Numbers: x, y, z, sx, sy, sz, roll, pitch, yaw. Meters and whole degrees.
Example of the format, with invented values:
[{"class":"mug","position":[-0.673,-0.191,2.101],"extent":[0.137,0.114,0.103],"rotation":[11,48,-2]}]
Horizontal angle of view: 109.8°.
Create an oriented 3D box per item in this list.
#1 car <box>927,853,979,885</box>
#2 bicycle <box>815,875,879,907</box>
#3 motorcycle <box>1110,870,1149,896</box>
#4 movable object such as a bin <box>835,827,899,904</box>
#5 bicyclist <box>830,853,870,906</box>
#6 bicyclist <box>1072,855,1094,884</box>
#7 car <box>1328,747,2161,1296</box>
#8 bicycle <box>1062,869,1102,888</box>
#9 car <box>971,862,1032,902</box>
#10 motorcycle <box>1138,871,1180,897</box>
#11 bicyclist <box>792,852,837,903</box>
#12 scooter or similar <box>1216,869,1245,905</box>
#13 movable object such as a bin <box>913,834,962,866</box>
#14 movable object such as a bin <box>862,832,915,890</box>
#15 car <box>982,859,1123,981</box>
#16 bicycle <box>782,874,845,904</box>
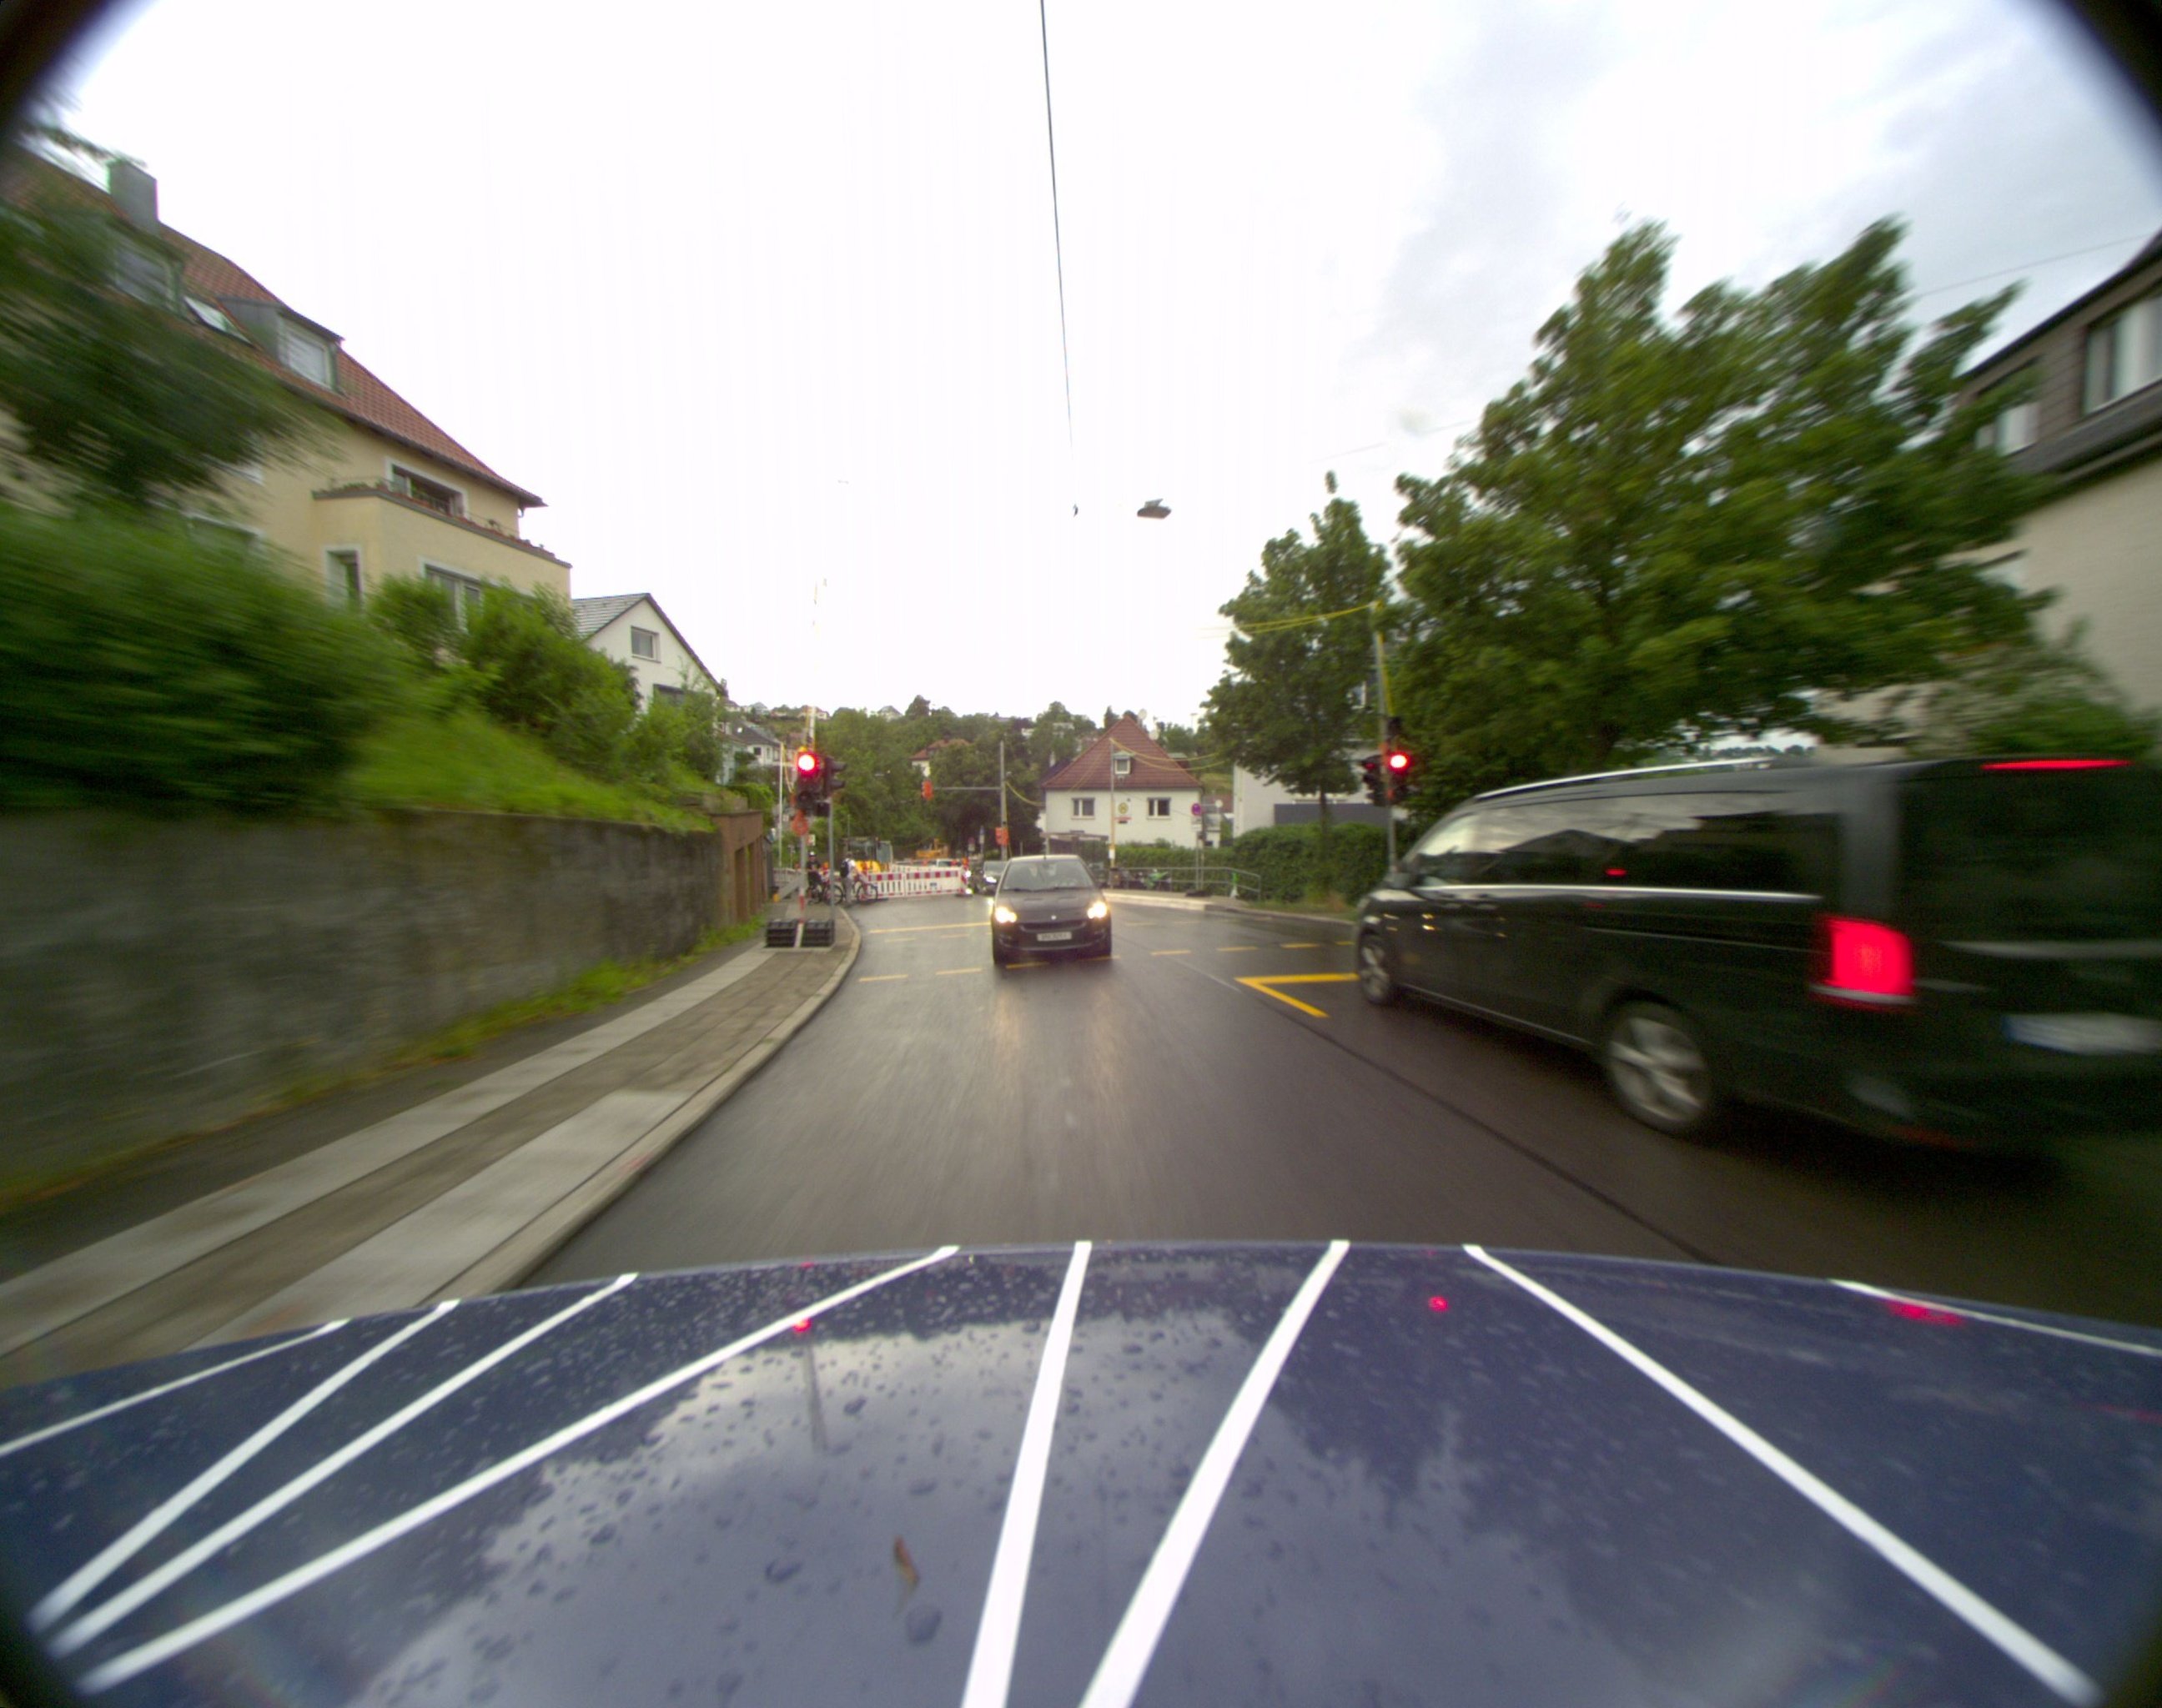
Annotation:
[{"class":"car","position":[-7.550,0.836,44.347],"extent":[2.004,1.699,4.564],"rotation":[0,1,-23]},{"class":"bicycle","position":[-7.833,1.223,25.479],"extent":[1.887,0.975,0.931],"rotation":[-1,1,-29]},{"class":"motorcycle","position":[1.975,1.162,31.134],"extent":[0.670,1.030,2.148],"rotation":[1,-1,-24]},{"class":"movable object such as a bin","position":[-8.864,0.450,31.128],"extent":[2.095,2.821,5.667],"rotation":[-1,0,-20]},{"class":"bicyclist","position":[-7.757,0.837,25.516],"extent":[1.078,1.719,0.931],"rotation":[-1,1,-29]},{"class":"bicyclist","position":[0.077,0.806,39.455],"extent":[0.909,1.430,1.096],"rotation":[1,1,-12]},{"class":"car","position":[3.655,0.562,5.224],"extent":[1.902,1.878,5.150],"rotation":[1,1,-4]},{"class":"bicycle","position":[0.062,1.245,39.462],"extent":[1.878,0.926,1.096],"rotation":[1,1,-12]},{"class":"car","position":[-3.358,1.112,31.489],"extent":[1.845,1.395,4.064],"rotation":[0,1,-16]},{"class":"motorcycle","position":[2.951,1.142,28.903],"extent":[0.670,0.928,2.006],"rotation":[1,-1,-24]},{"class":"bicyclist","position":[-9.152,0.802,26.147],"extent":[1.075,1.719,0.934],"rotation":[0,1,14]},{"class":"scooter or similar","position":[4.693,1.029,23.932],"extent":[0.325,1.074,1.093],"rotation":[1,0,-23]},{"class":"movable object such as a bin","position":[-18.329,-0.542,97.372],"extent":[3.325,3.817,7.211],"rotation":[1,1,15]},{"class":"movable object such as a bin","position":[-10.213,0.252,39.985],"extent":[2.095,2.822,5.665],"rotation":[-1,2,-20]},{"class":"car","position":[-0.669,0.883,12.271],"extent":[1.675,1.458,4.710],"rotation":[1,1,-9]},{"class":"bicycle","position":[-9.197,1.186,26.173],"extent":[1.826,0.975,0.934],"rotation":[-1,1,14]}]
